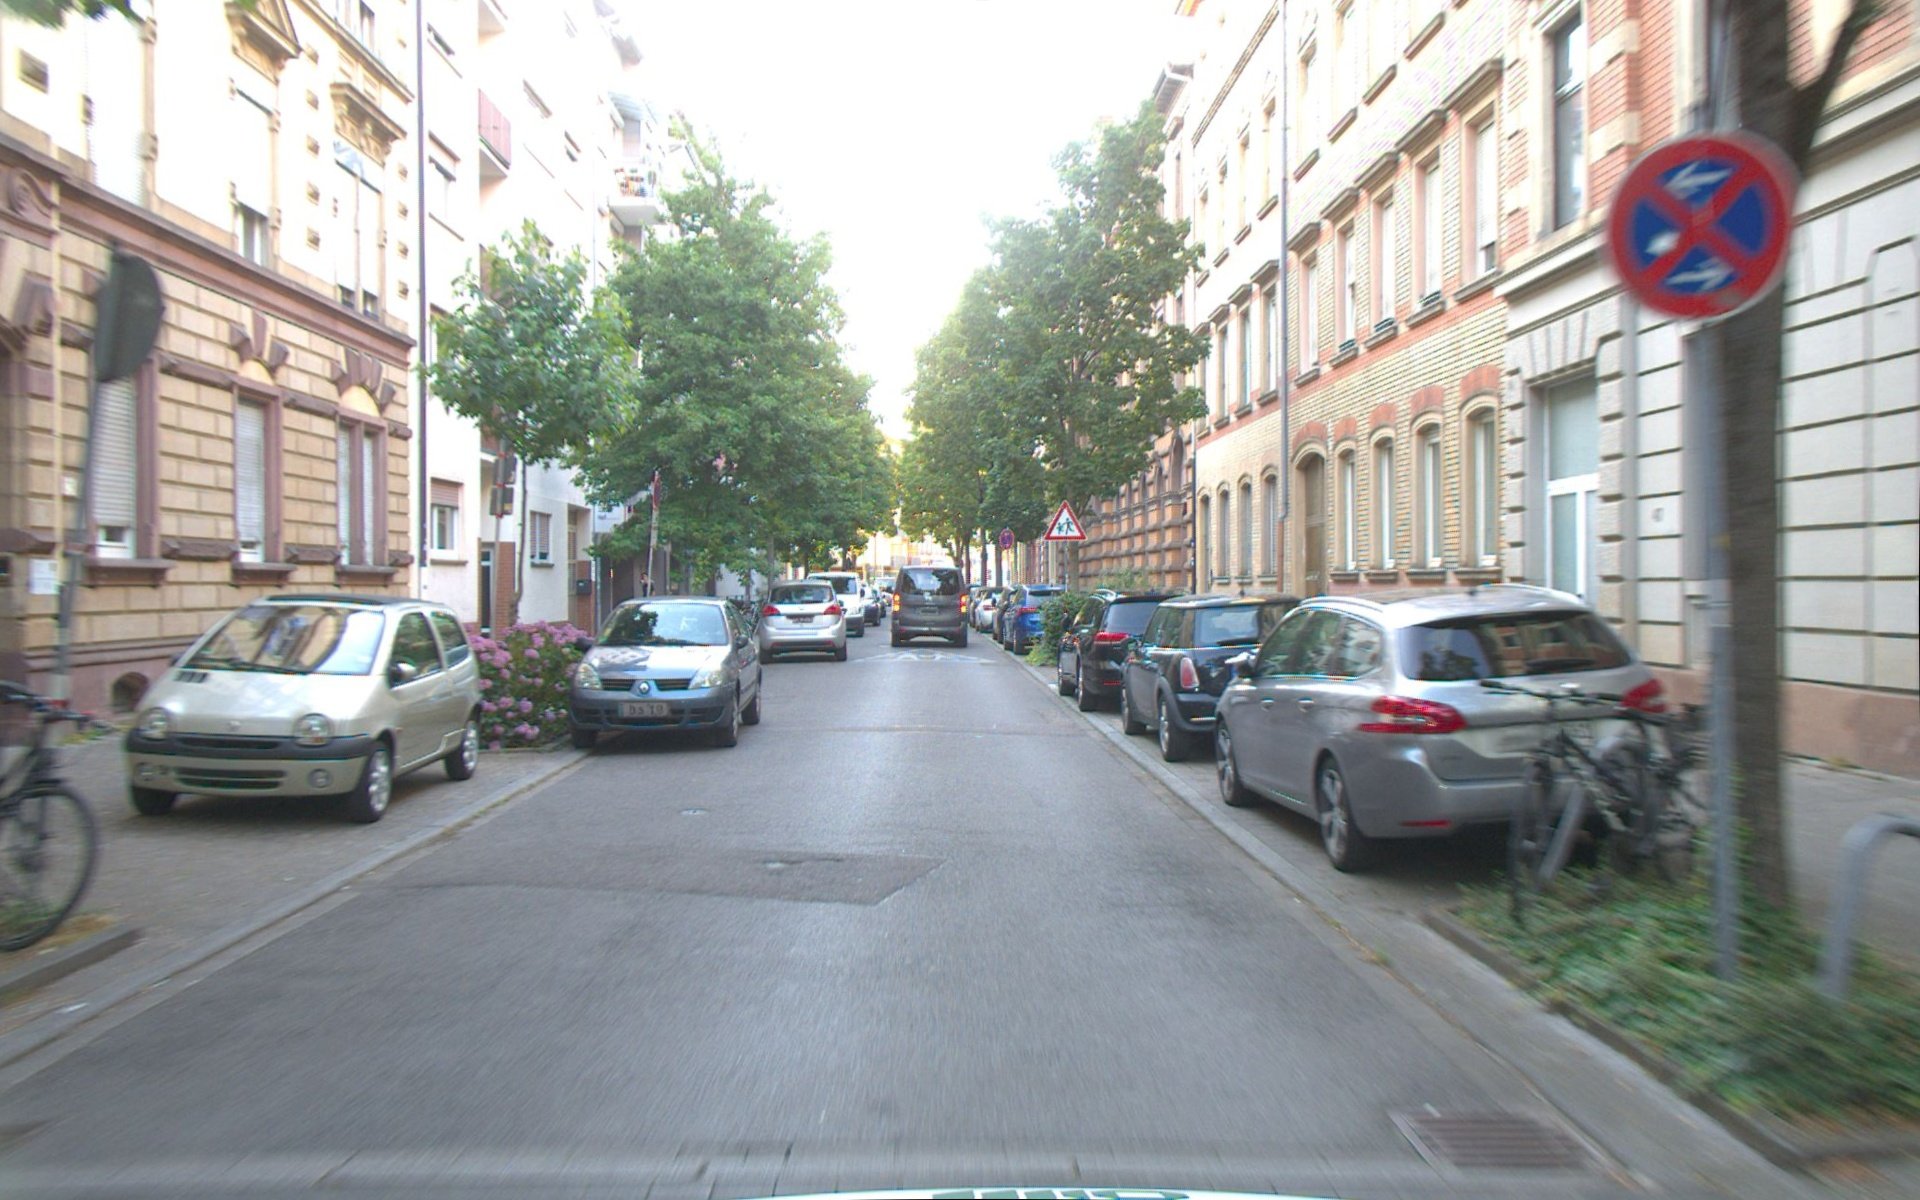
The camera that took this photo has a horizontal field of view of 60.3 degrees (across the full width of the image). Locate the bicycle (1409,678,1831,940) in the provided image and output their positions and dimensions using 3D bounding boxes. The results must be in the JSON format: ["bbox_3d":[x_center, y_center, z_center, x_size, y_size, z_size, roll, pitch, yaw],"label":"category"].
[{"bbox_3d":[2.990,0.890,7.467,1.890,0.999,0.634,0,0,-24],"label":"bicycle"}]

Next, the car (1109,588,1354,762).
[{"bbox_3d":[2.492,0.633,15.962,1.603,1.449,3.562,-1,0,-3],"label":"car"}]

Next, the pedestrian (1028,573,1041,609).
[{"bbox_3d":[3.524,-0.413,78.305,0.614,1.677,0.531,0,0,-1],"label":"pedestrian"}]

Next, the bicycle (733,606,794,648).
[{"bbox_3d":[-5.742,0.787,48.412,0.686,1.184,1.813,-1,0,40],"label":"bicycle"}]

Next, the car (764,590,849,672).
[{"bbox_3d":[-3.156,0.600,34.237,1.630,1.590,3.996,-1,0,-5],"label":"car"}]

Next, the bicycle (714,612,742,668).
[{"bbox_3d":[-4.843,0.818,34.594,0.411,1.123,1.664,1,0,-2],"label":"bicycle"}]

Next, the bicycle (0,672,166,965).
[{"bbox_3d":[-4.290,0.905,7.407,1.795,1.104,0.665,0,-1,42],"label":"bicycle"}]

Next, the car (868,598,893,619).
[{"bbox_3d":[-5.572,0.581,116.228,1.706,1.429,3.373,-1,0,-2],"label":"car"}]

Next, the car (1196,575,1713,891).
[{"bbox_3d":[2.768,0.640,10.360,1.683,1.502,4.365,-2,0,-3],"label":"car"}]

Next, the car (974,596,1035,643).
[{"bbox_3d":[1.389,0.598,53.291,1.659,1.426,4.644,-1,0,-2],"label":"car"}]

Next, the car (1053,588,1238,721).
[{"bbox_3d":[2.242,0.614,21.087,1.731,1.439,4.472,-2,0,-1],"label":"car"}]

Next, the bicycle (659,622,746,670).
[{"bbox_3d":[-5.071,0.902,32.642,1.682,0.923,0.379,1,0,-32],"label":"bicycle"}]

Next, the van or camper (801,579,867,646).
[{"bbox_3d":[-3.722,0.345,49.485,1.839,1.875,4.750,-1,0,-3],"label":"van or camper"}]

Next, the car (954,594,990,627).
[{"bbox_3d":[0.607,0.524,84.522,1.580,1.586,3.763,-1,0,-3],"label":"car"}]

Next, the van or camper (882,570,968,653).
[{"bbox_3d":[-0.815,0.270,40.882,1.993,1.931,4.271,0,0,0],"label":"van or camper"}]

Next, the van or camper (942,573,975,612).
[{"bbox_3d":[-0.142,-0.496,112.516,1.954,2.644,5.421,0,0,-3],"label":"van or camper"}]

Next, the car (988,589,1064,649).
[{"bbox_3d":[1.698,0.476,43.530,1.677,1.503,4.190,0,0,-2],"label":"car"}]

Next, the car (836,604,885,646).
[{"bbox_3d":[-3.809,0.930,63.922,1.793,1.544,4.514,0,0,-2],"label":"car"}]

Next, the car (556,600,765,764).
[{"bbox_3d":[-2.920,0.738,16.792,1.548,1.445,3.752,-1,0,-2],"label":"car"}]

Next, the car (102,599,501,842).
[{"bbox_3d":[-4.589,0.752,12.075,1.555,1.462,3.564,1,0,-2],"label":"car"}]

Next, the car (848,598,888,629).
[{"bbox_3d":[-4.507,0.660,81.876,1.809,1.477,4.501,0,0,-1],"label":"car"}]

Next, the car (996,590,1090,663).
[{"bbox_3d":[1.777,0.537,36.521,1.595,1.492,4.242,-1,0,-4],"label":"car"}]

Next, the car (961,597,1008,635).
[{"bbox_3d":[1.018,0.661,70.524,1.664,1.508,3.997,-2,0,-4],"label":"car"}]

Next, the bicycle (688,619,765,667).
[{"bbox_3d":[-5.103,0.928,36.169,1.694,1.012,0.575,0,0,32],"label":"bicycle"}]
